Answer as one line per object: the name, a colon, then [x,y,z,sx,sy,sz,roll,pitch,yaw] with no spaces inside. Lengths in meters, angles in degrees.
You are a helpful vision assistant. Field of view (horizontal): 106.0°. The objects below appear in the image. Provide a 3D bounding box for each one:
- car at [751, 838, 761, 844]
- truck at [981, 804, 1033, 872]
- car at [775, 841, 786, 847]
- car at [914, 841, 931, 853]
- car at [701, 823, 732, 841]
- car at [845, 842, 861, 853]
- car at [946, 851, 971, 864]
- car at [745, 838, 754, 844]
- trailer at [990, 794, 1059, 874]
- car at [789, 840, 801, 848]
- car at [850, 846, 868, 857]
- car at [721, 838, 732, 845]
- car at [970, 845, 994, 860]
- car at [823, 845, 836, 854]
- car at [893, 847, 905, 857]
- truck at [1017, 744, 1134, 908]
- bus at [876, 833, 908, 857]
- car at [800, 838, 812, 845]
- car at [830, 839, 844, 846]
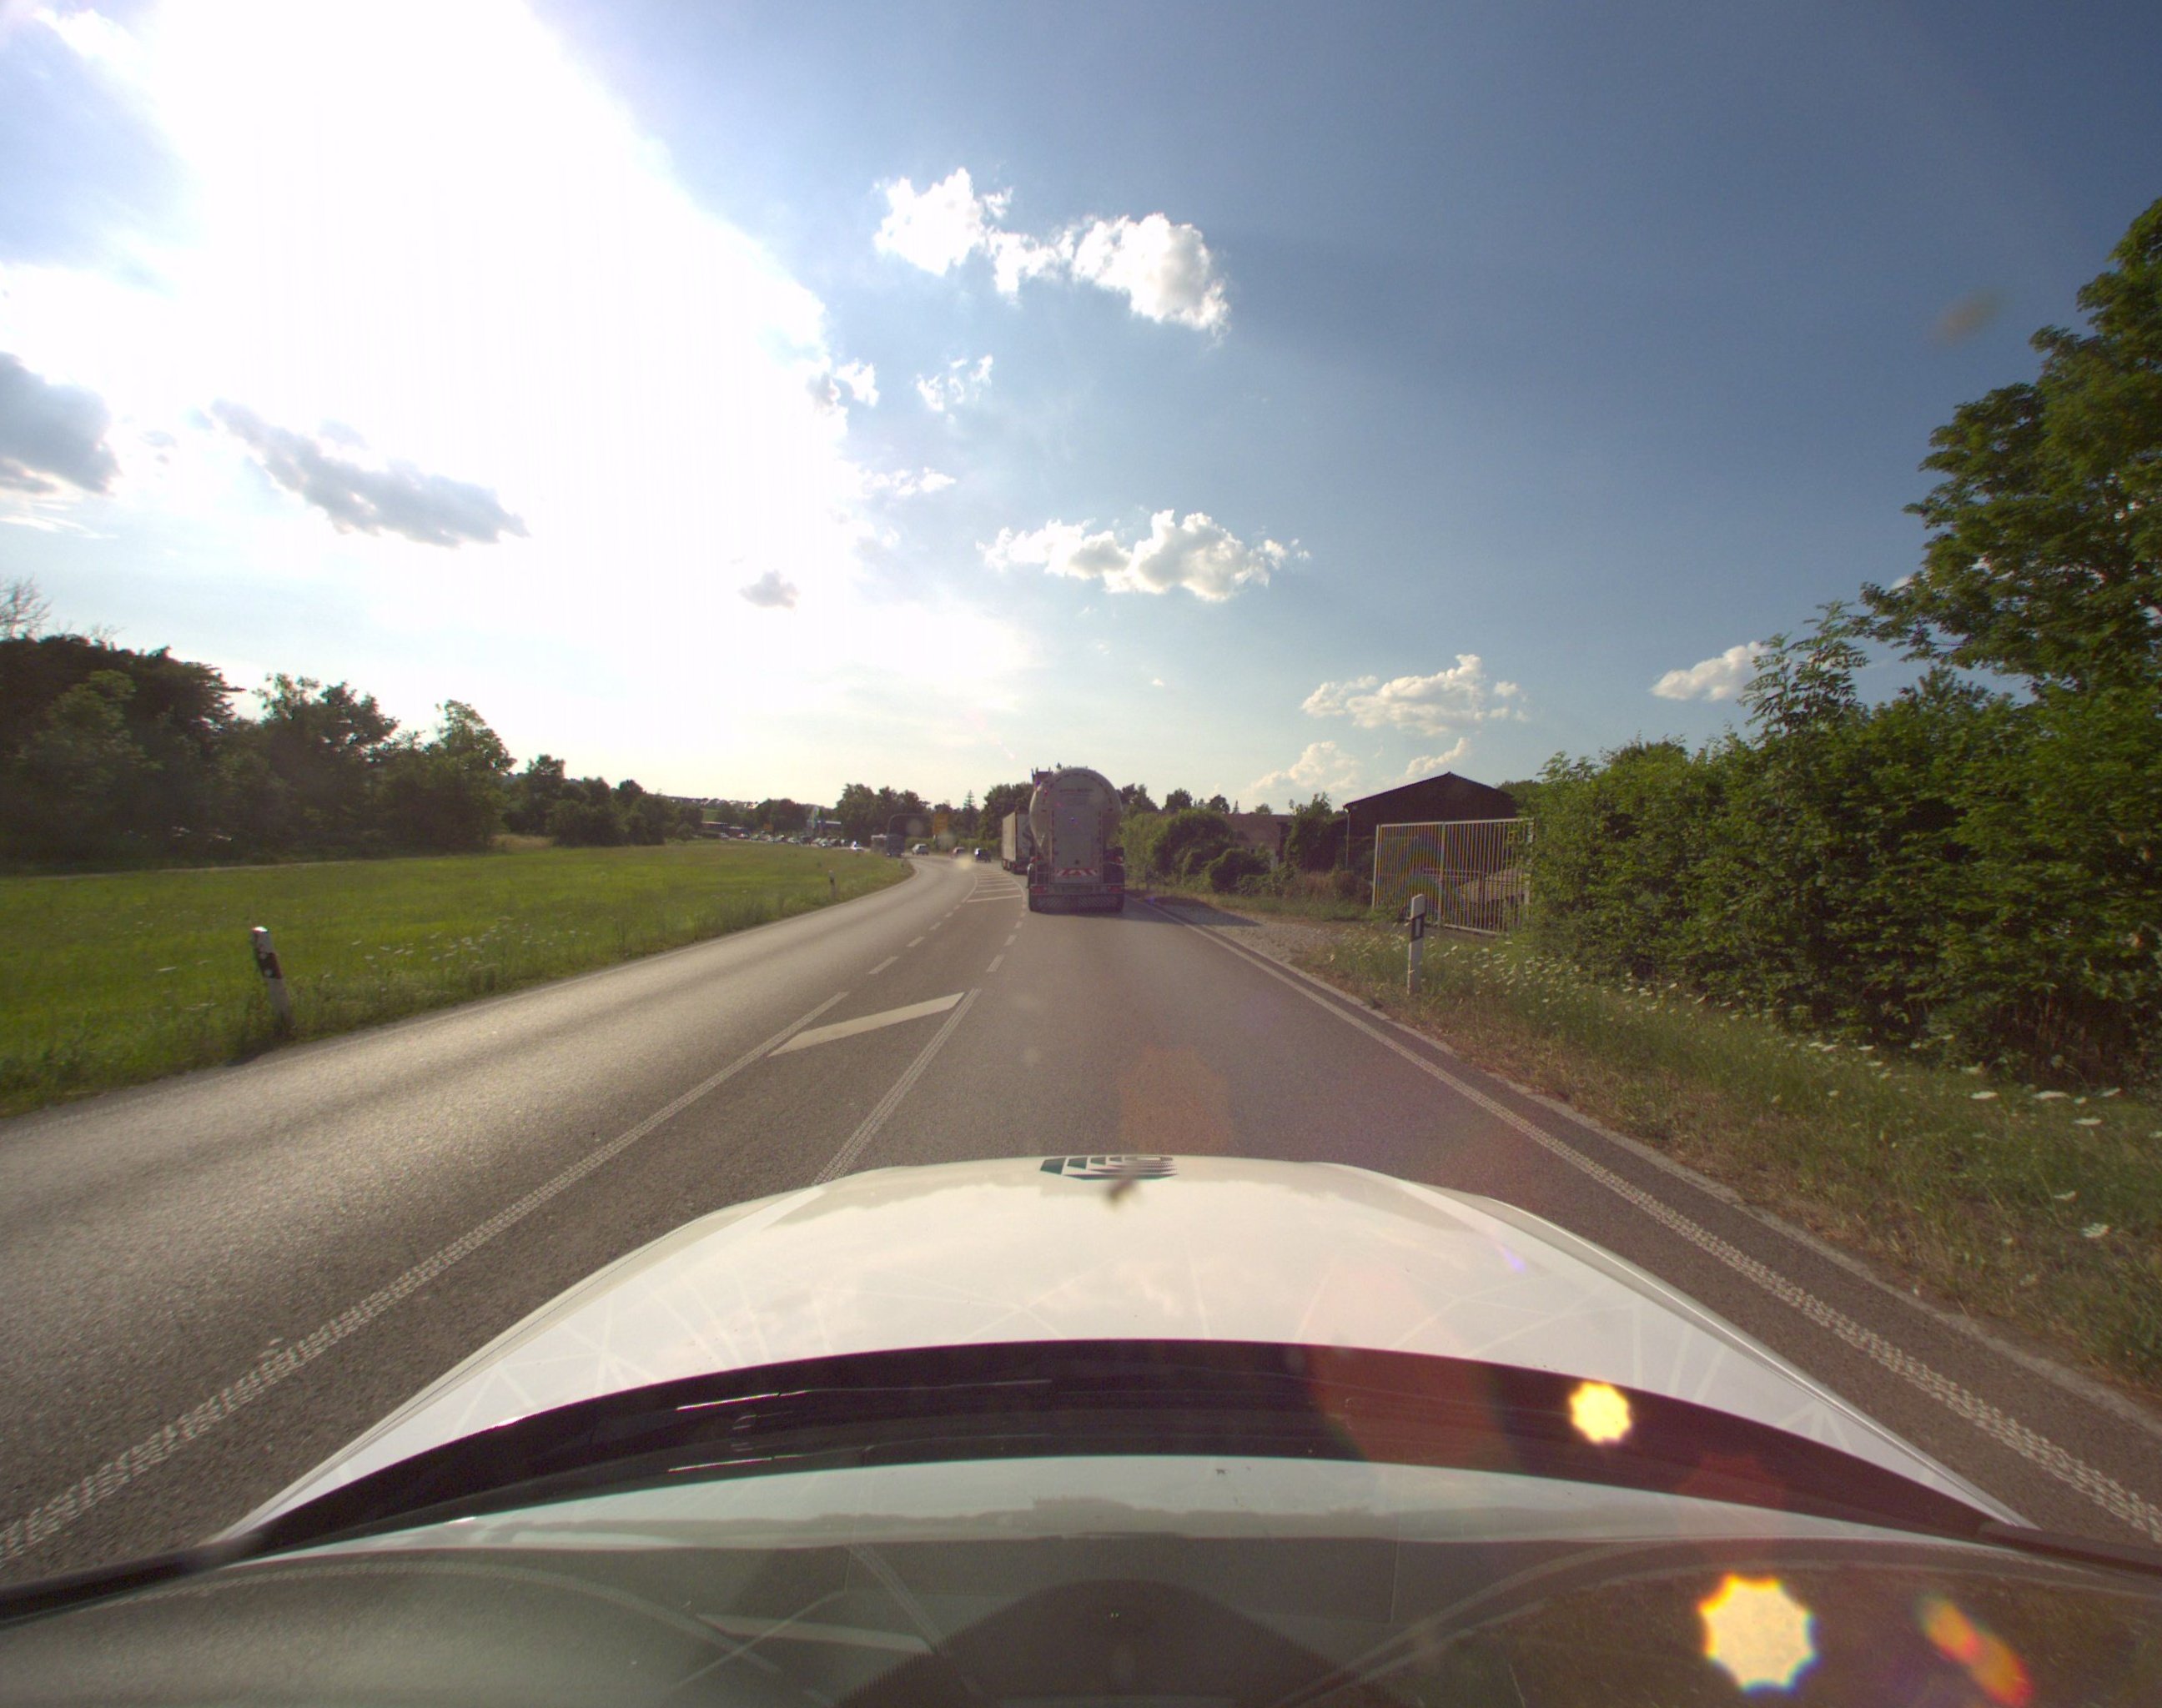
car: [-86.521,-3.390,216.754,1.893,1.599,3.963,1,0,-29]
truck: [-5.730,-1.097,62.169,2.967,4.886,6.399,0,-1,-14]
car: [-76.099,-2.498,206.177,1.894,1.599,3.960,1,0,-32]
car: [-24.758,-1.071,127.256,1.848,1.656,3.970,1,-1,-22]
car: [-104.416,-6.343,232.990,13.079,5.059,3.573,1,0,45]
car: [-36.923,-1.021,131.851,1.851,1.656,3.964,1,-1,-27]
car: [-16.215,0.464,107.974,2.309,1.656,4.382,1,-1,-22]
car: [-90.498,-3.623,222.250,1.893,1.599,3.963,1,0,-29]
trailer: [-4.020,-1.167,55.201,2.968,4.882,10.238,0,-1,-14]
car: [-62.906,-2.265,179.150,1.851,1.656,3.964,1,-1,-27]
car: [-37.334,-0.416,137.029,1.854,1.656,3.959,1,-1,-33]
car: [-93.644,-3.377,215.323,1.855,1.656,3.956,1,-1,-36]
car: [-11.211,-0.102,92.241,1.999,1.656,3.975,1,-1,-19]
car: [-49.705,-0.944,160.705,1.851,1.656,3.964,1,-1,-27]
car: [-32.118,-0.375,143.737,1.524,1.656,3.846,1,-1,-20]
truck: [-0.439,-0.639,26.553,2.969,4.175,11.648,0,-1,-3]
bus: [-26.915,-1.196,115.540,2.804,3.181,12.041,1,-1,-21]
car: [-65.228,-2.959,193.223,2.098,1.599,3.963,1,0,-29]
car: [-53.018,-2.530,176.604,2.098,1.599,3.963,1,0,-29]
